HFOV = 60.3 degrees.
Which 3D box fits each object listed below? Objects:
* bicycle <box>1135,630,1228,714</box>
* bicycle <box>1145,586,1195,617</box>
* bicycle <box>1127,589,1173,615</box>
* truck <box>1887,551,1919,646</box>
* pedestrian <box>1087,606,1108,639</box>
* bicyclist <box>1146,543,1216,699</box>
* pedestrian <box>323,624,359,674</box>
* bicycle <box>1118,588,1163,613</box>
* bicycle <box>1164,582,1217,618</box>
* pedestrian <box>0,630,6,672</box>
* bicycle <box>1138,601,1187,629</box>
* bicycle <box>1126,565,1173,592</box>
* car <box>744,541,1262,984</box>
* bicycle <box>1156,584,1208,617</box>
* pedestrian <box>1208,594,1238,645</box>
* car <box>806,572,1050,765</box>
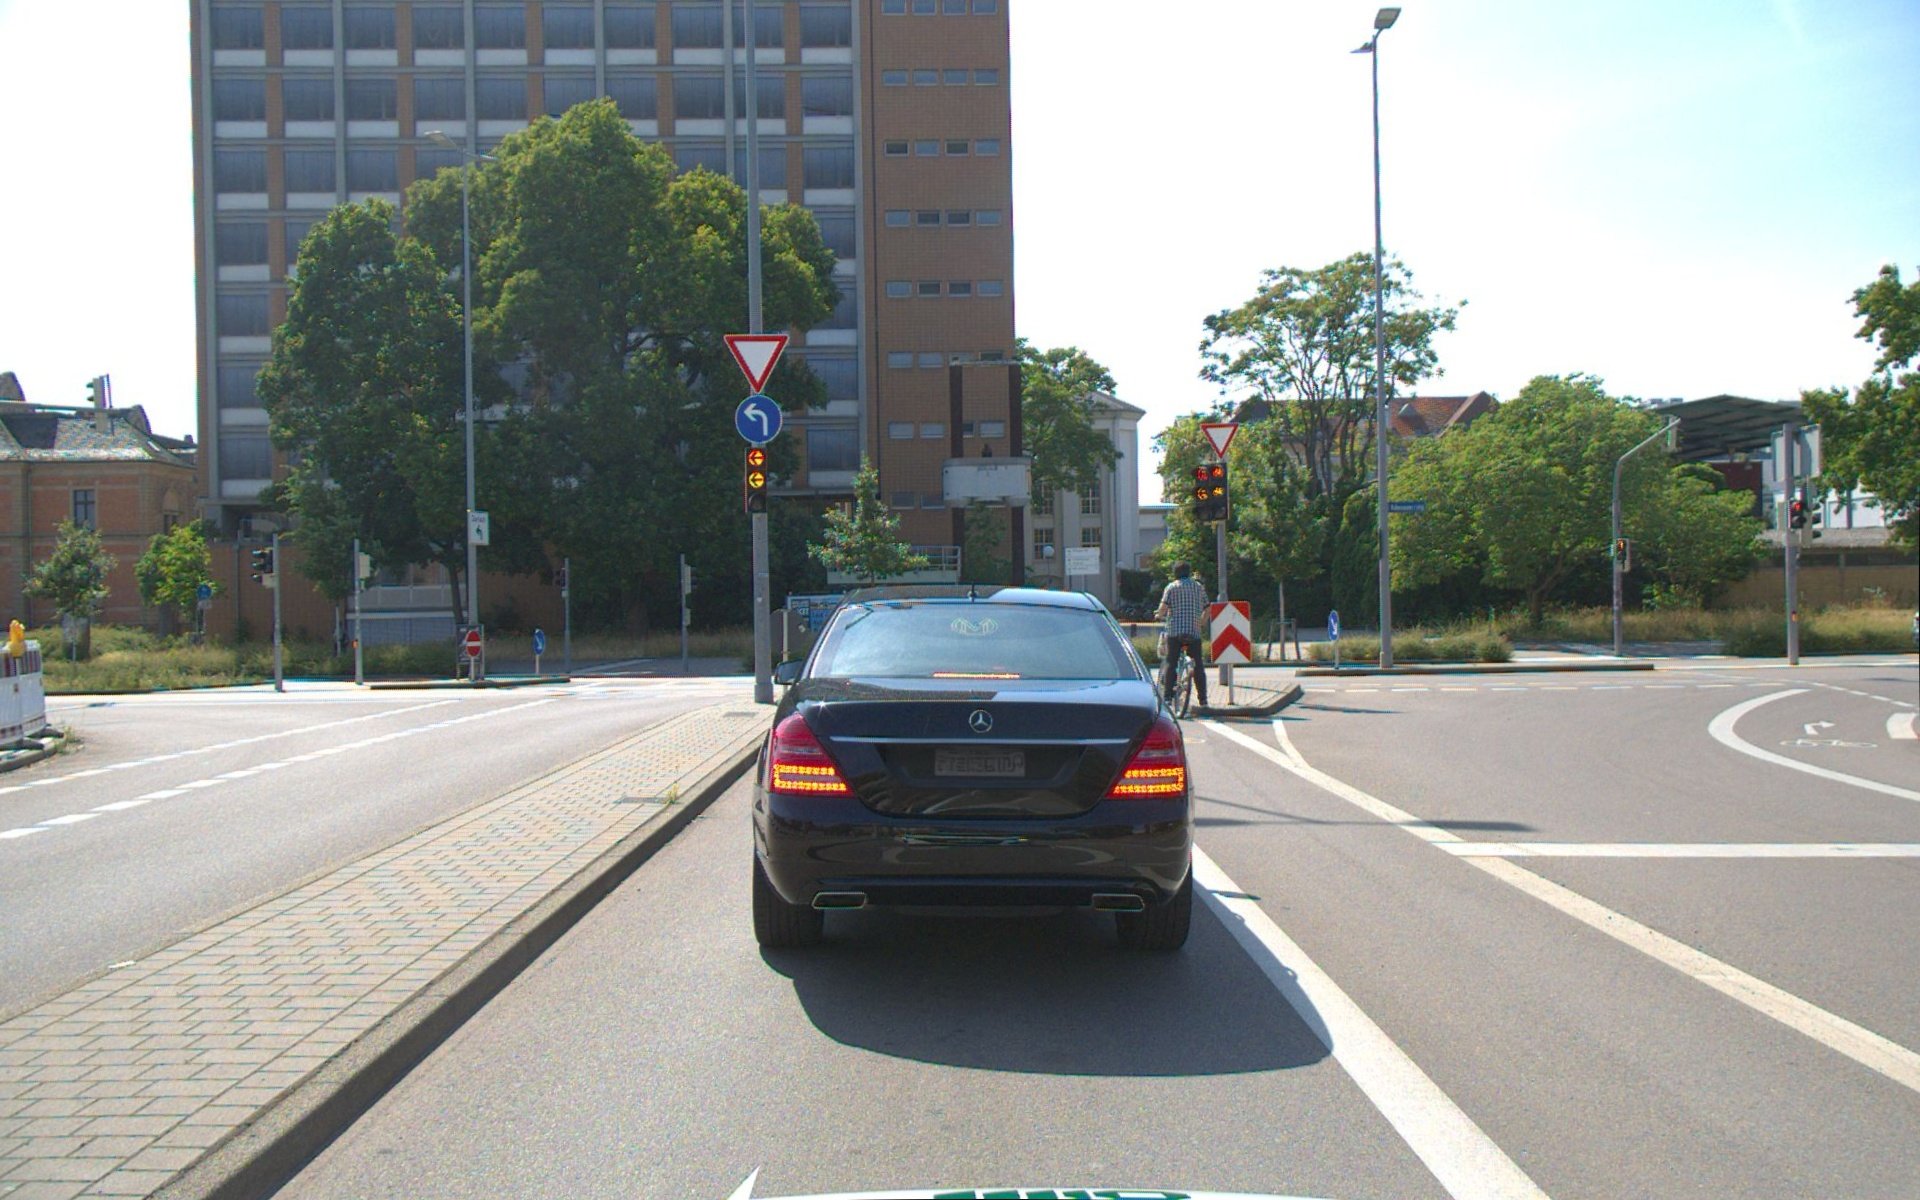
[{"bbox_3d":[2.741,0.880,20.650,0.679,0.963,1.955,1,0,-7],"label":"bicycle"},{"bbox_3d":[12.250,0.085,96.508,2.766,1.688,0.841,-2,1,-2],"label":"bicycle"},{"bbox_3d":[12.014,0.132,104.721,2.766,1.526,0.841,-2,0,-2],"label":"bicycle"},{"bbox_3d":[27.701,-0.128,41.999,6.881,2.397,2.413,-2,-2,0],"label":"truck"},{"bbox_3d":[5.304,0.859,63.820,0.776,1.235,0.758,1,0,6],"label":"pedestrian"},{"bbox_3d":[2.747,0.258,20.624,0.673,1.911,0.858,0,0,-7],"label":"bicyclist"},{"bbox_3d":[-21.861,1.728,58.394,0.781,1.756,0.873,-2,-1,22],"label":"pedestrian"},{"bbox_3d":[11.637,0.015,106.413,2.765,1.506,0.841,-2,0,0],"label":"bicycle"},{"bbox_3d":[12.757,0.003,91.711,2.766,1.868,0.841,-2,0,-2],"label":"bicycle"},{"bbox_3d":[-39.193,2.048,67.009,0.635,1.690,0.649,1,-1,25],"label":"pedestrian"},{"bbox_3d":[12.088,0.890,98.542,2.766,1.564,0.841,-2,0,-2],"label":"bicycle"},{"bbox_3d":[11.699,-1.318,102.408,2.766,1.586,0.841,-2,0,-2],"label":"bicycle"},{"bbox_3d":[0.093,0.589,8.210,1.821,1.557,4.712,1,0,-2],"label":"car"},{"bbox_3d":[12.591,0.024,93.967,2.766,1.775,0.841,-2,0,-2],"label":"bicycle"},{"bbox_3d":[8.319,0.617,52.359,0.794,1.607,0.692,-1,-1,1],"label":"pedestrian"},{"bbox_3d":[-0.284,0.563,15.386,1.953,1.534,3.999,1,0,-1],"label":"car"}]
